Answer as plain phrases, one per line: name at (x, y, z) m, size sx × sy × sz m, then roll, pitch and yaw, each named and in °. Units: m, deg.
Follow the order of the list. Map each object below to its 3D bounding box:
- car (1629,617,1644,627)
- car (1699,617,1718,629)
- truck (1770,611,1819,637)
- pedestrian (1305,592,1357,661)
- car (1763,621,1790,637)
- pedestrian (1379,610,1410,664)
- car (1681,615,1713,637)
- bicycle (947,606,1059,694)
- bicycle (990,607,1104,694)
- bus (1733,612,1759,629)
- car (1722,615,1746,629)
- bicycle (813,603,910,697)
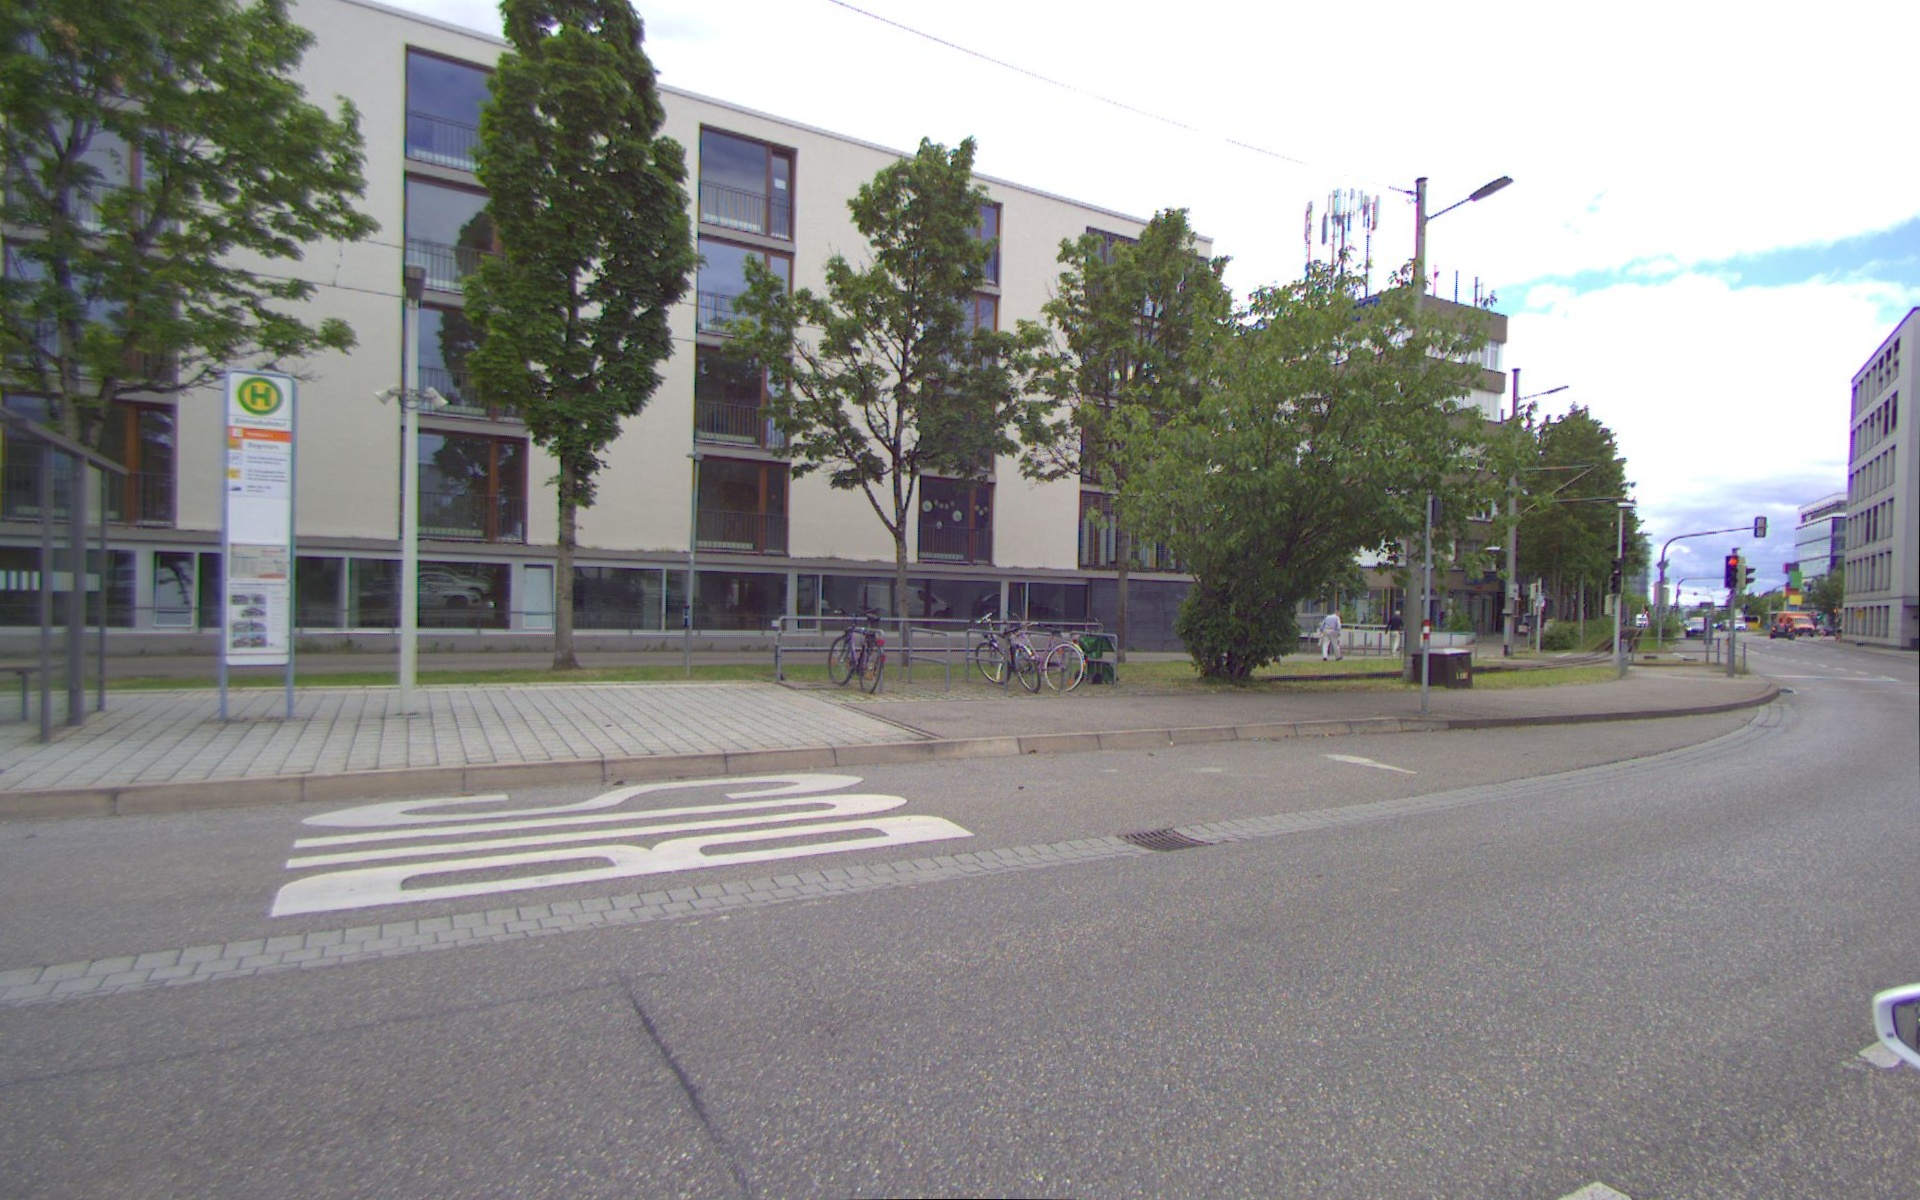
car at (133.248, 4.335, 197.851) m, size 1.886 × 1.748 × 4.163 m, roll 3°, pitch 2°, yaw 28°
car at (122.142, 3.727, 163.965) m, size 1.886 × 1.748 × 4.163 m, roll 3°, pitch 2°, yaw 28°
truck at (98.617, 2.775, 118.753) m, size 2.532 × 2.863 × 6.985 m, roll 1°, pitch 0°, yaw 24°
pedestrian at (11.434, 0.805, 30.992) m, size 0.903 × 2.041 × 1.048 m, roll 2°, pitch 3°, yaw -29°
car at (81.327, 2.905, 99.994) m, size 1.878 × 1.506 × 3.979 m, roll 1°, pitch 0°, yaw 42°
pedestrian at (17.029, 1.437, 39.376) m, size 0.758 × 2.041 × 0.885 m, roll 5°, pitch 3°, yaw 41°
car at (61.287, 2.137, 83.599) m, size 1.825 × 1.718 × 3.990 m, roll 1°, pitch 0°, yaw 32°
bicycle at (0.587, 0.691, 14.656) m, size 0.624 × 1.121 × 2.089 m, roll 1°, pitch 1°, yaw -28°
bicycle at (1.248, 0.711, 14.937) m, size 0.624 × 1.121 × 2.090 m, roll 1°, pitch 1°, yaw -28°
bus at (148.531, 3.847, 189.974) m, size 3.041 × 2.968 × 10.309 m, roll 3°, pitch 2°, yaw 34°
car at (106.836, 3.072, 138.659) m, size 1.886 × 1.748 × 4.163 m, roll 3°, pitch 2°, yaw 28°
bicycle at (-1.373, 0.643, 13.655) m, size 0.580 × 1.121 × 1.920 m, roll 1°, pitch 1°, yaw -28°
